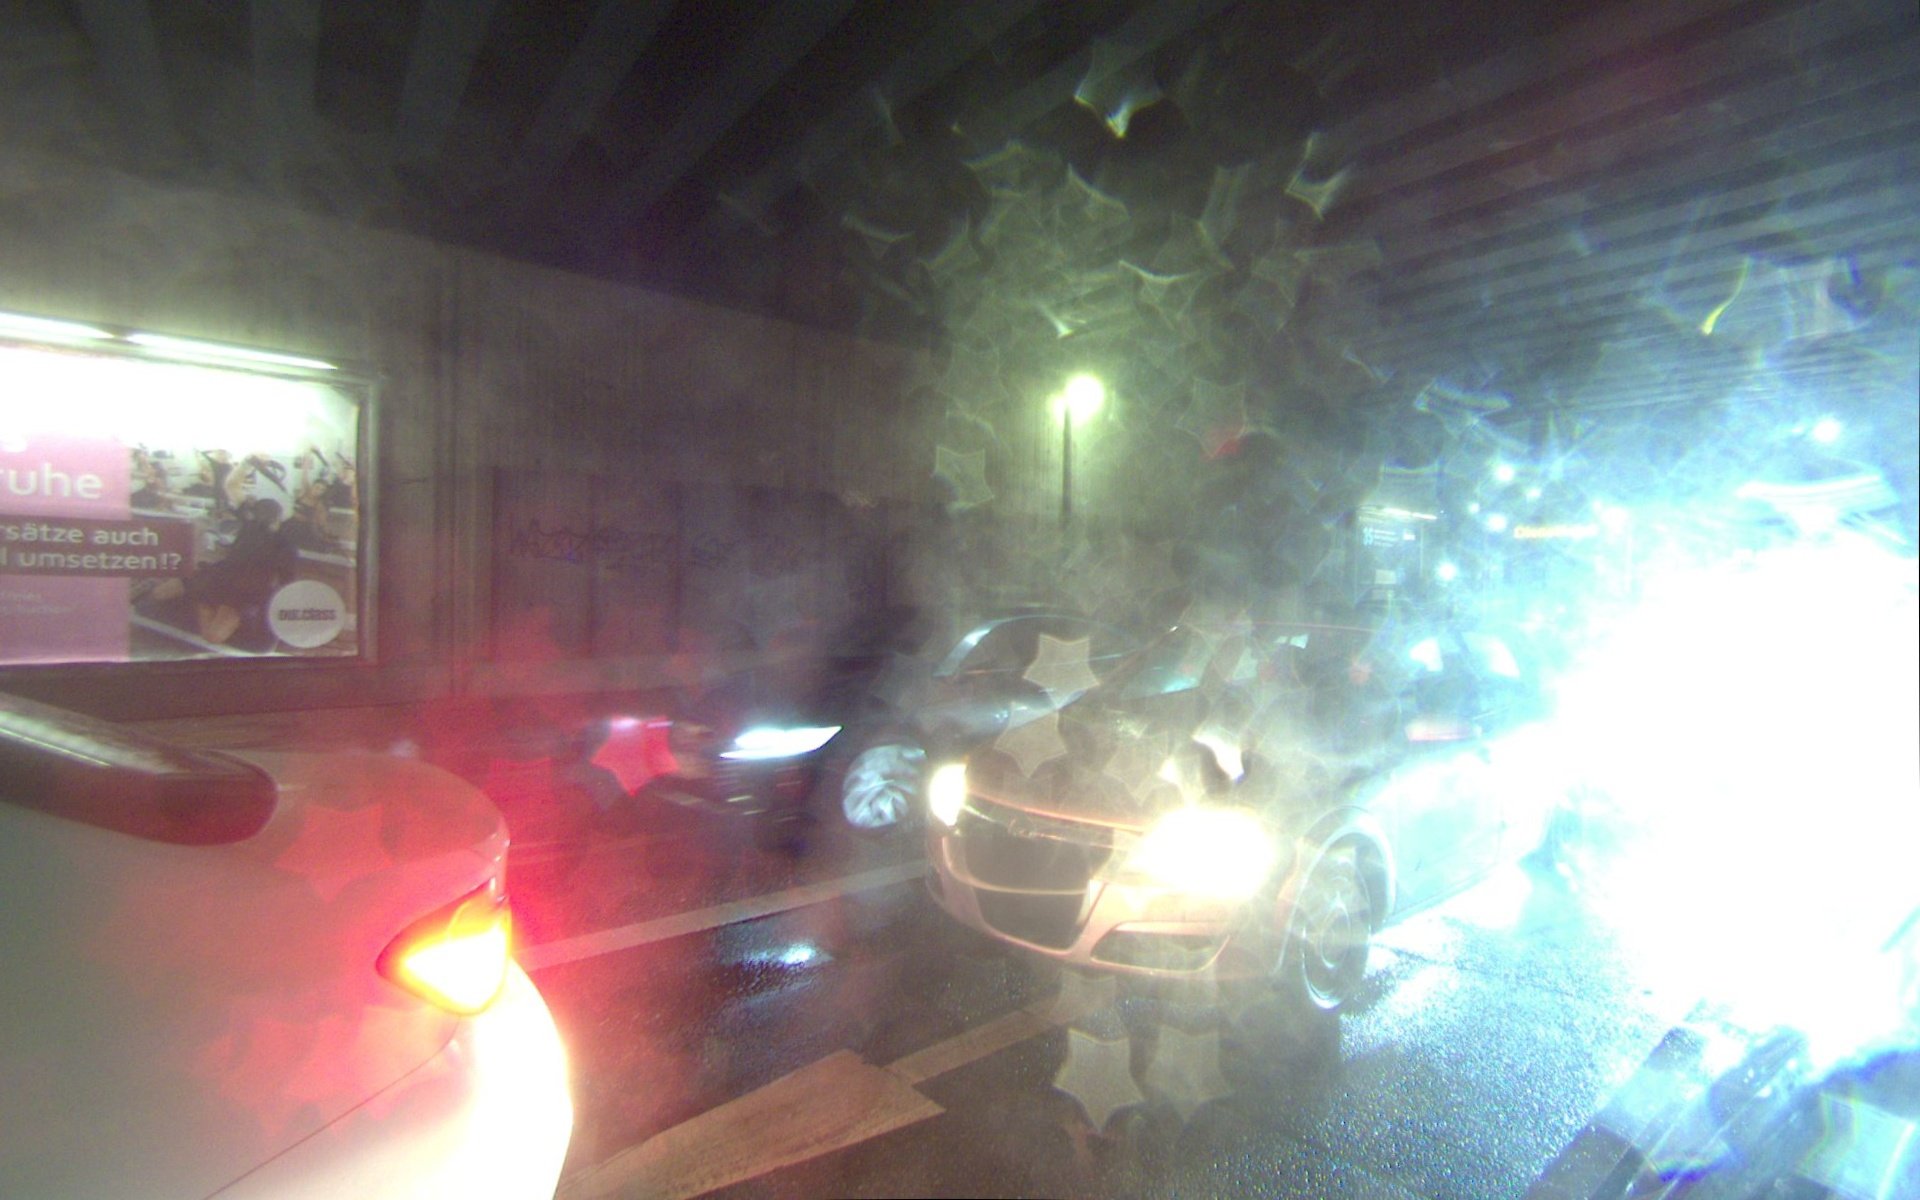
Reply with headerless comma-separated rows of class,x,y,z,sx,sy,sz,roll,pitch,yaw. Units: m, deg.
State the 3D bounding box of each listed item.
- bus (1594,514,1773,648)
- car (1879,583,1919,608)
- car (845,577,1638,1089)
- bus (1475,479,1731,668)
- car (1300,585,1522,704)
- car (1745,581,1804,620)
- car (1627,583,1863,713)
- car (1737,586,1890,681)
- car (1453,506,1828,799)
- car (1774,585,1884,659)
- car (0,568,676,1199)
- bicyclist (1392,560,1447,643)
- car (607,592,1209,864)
bus,20.508,-0.445,28.372,2.769,3.163,9.607,0,0,44
car,62.274,-0.318,66.207,1.801,1.625,4.115,0,0,21
car,1.587,0.619,4.830,3.931,1.384,1.791,-2,2,-41
bus,13.921,-0.440,21.418,2.769,3.163,9.607,0,0,44
car,6.571,0.544,14.569,1.751,1.449,3.700,2,1,44
car,35.550,-0.008,44.246,1.732,1.610,3.950,0,0,35
car,10.794,0.543,13.839,3.701,1.531,1.867,-1,0,-41
car,15.409,0.520,18.206,3.932,1.522,1.627,-1,0,-43
car,6.529,0.355,9.516,4.274,2.115,1.996,-1,0,-43
car,19.446,0.424,22.592,1.678,1.490,3.937,0,0,43
car,-2.660,0.685,1.009,4.273,1.422,1.719,-1,0,-41
bicyclist,10.053,0.025,22.153,0.885,1.784,0.798,0,0,-41
car,-0.081,0.671,7.493,1.752,1.408,4.494,0,0,44
